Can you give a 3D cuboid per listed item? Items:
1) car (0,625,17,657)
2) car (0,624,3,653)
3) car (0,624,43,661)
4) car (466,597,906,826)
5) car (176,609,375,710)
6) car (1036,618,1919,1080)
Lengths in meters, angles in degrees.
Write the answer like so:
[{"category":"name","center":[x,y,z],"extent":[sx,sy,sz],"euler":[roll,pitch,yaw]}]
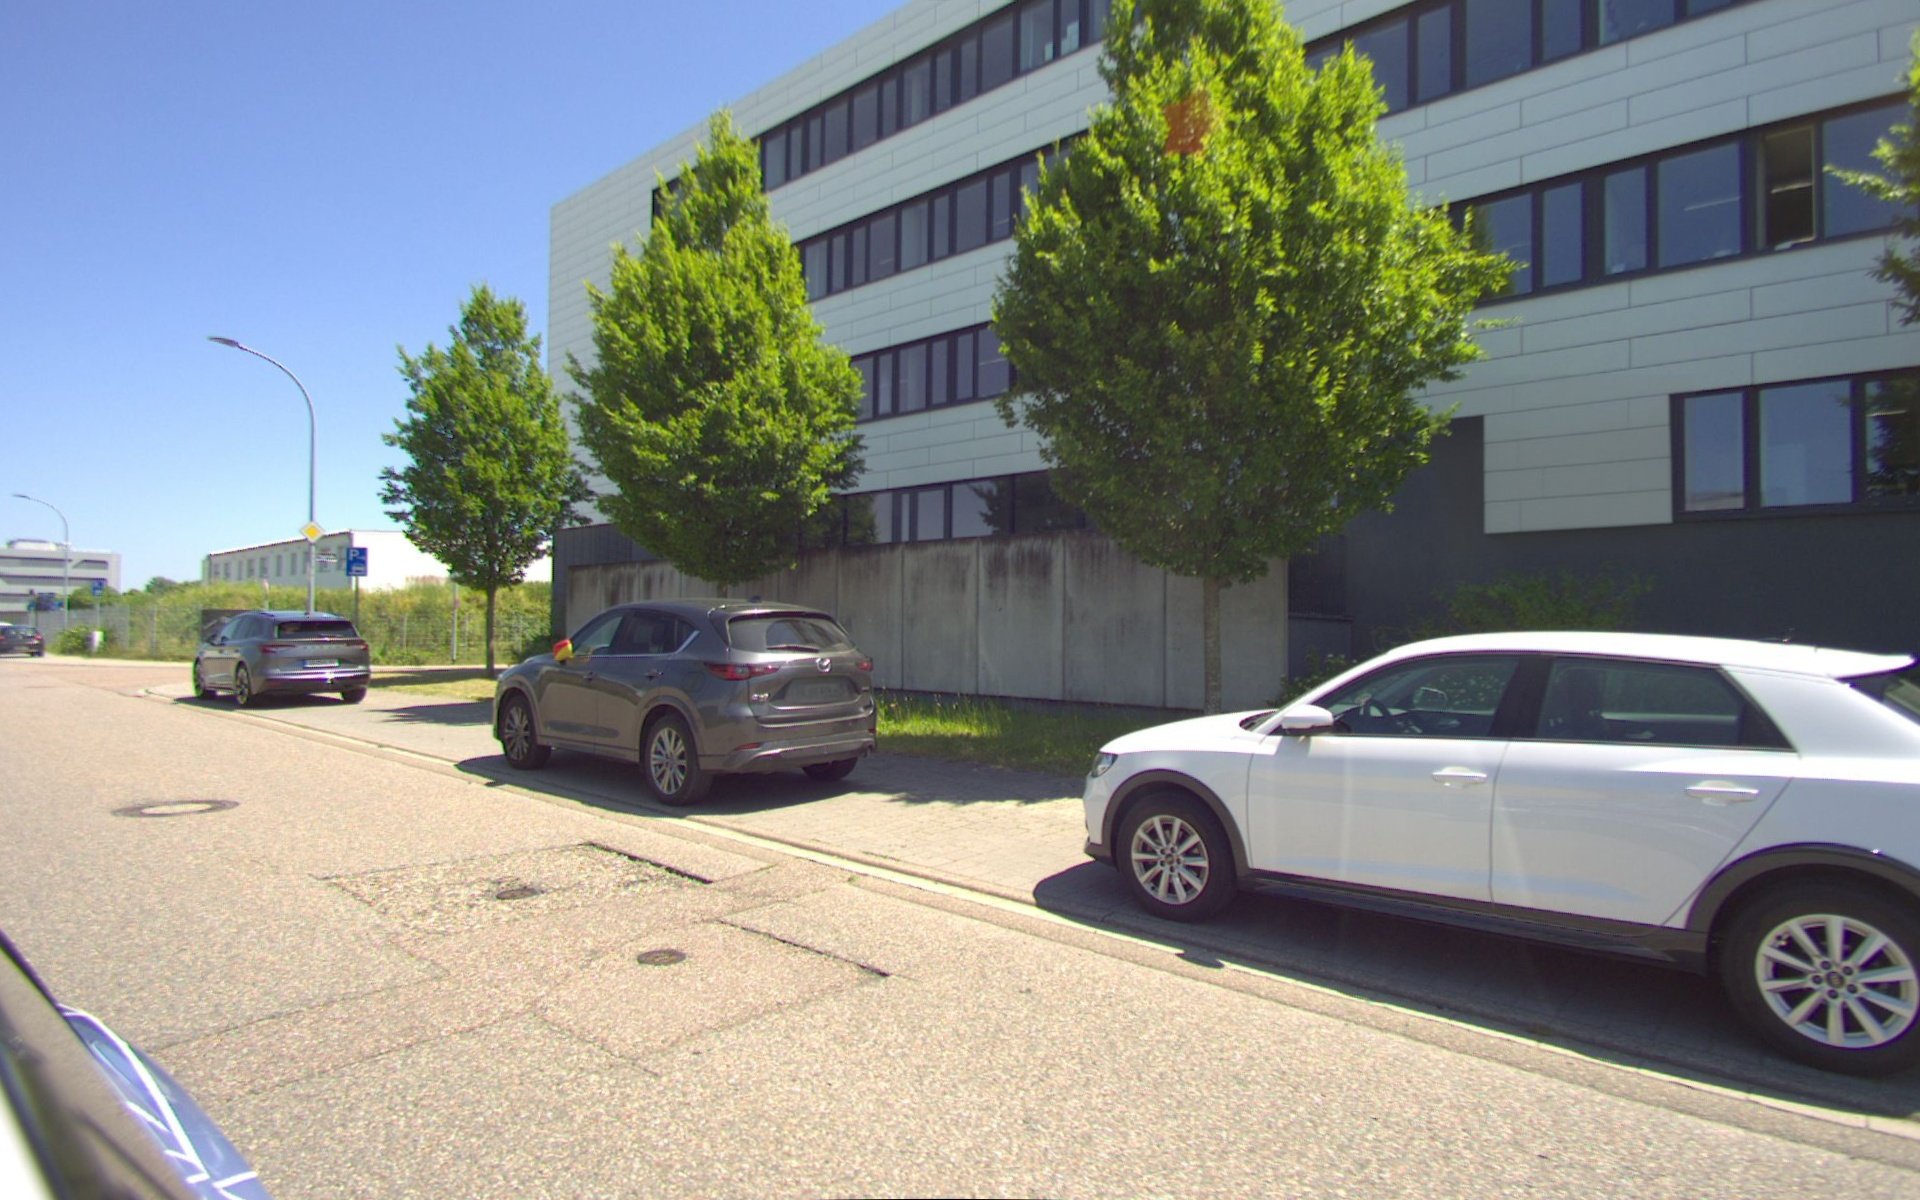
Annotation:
[{"category":"car","center":[-48.580,2.067,50.647],"extent":[3.756,1.541,1.656],"euler":[-1,1,42]},{"category":"car","center":[-53.326,2.087,54.957],"extent":[3.908,1.541,1.656],"euler":[-1,-1,42]},{"category":"car","center":[-41.667,1.824,44.427],"extent":[4.067,1.461,1.656],"euler":[-1,1,42]},{"category":"car","center":[-2.750,0.816,9.464],"extent":[4.580,1.636,1.752],"euler":[-1,0,42]},{"category":"car","center":[-12.291,0.998,18.068],"extent":[4.477,1.600,1.753],"euler":[-2,-2,40]},{"category":"car","center":[2.560,0.821,4.802],"extent":[4.199,1.442,1.752],"euler":[-1,-2,42]}]
